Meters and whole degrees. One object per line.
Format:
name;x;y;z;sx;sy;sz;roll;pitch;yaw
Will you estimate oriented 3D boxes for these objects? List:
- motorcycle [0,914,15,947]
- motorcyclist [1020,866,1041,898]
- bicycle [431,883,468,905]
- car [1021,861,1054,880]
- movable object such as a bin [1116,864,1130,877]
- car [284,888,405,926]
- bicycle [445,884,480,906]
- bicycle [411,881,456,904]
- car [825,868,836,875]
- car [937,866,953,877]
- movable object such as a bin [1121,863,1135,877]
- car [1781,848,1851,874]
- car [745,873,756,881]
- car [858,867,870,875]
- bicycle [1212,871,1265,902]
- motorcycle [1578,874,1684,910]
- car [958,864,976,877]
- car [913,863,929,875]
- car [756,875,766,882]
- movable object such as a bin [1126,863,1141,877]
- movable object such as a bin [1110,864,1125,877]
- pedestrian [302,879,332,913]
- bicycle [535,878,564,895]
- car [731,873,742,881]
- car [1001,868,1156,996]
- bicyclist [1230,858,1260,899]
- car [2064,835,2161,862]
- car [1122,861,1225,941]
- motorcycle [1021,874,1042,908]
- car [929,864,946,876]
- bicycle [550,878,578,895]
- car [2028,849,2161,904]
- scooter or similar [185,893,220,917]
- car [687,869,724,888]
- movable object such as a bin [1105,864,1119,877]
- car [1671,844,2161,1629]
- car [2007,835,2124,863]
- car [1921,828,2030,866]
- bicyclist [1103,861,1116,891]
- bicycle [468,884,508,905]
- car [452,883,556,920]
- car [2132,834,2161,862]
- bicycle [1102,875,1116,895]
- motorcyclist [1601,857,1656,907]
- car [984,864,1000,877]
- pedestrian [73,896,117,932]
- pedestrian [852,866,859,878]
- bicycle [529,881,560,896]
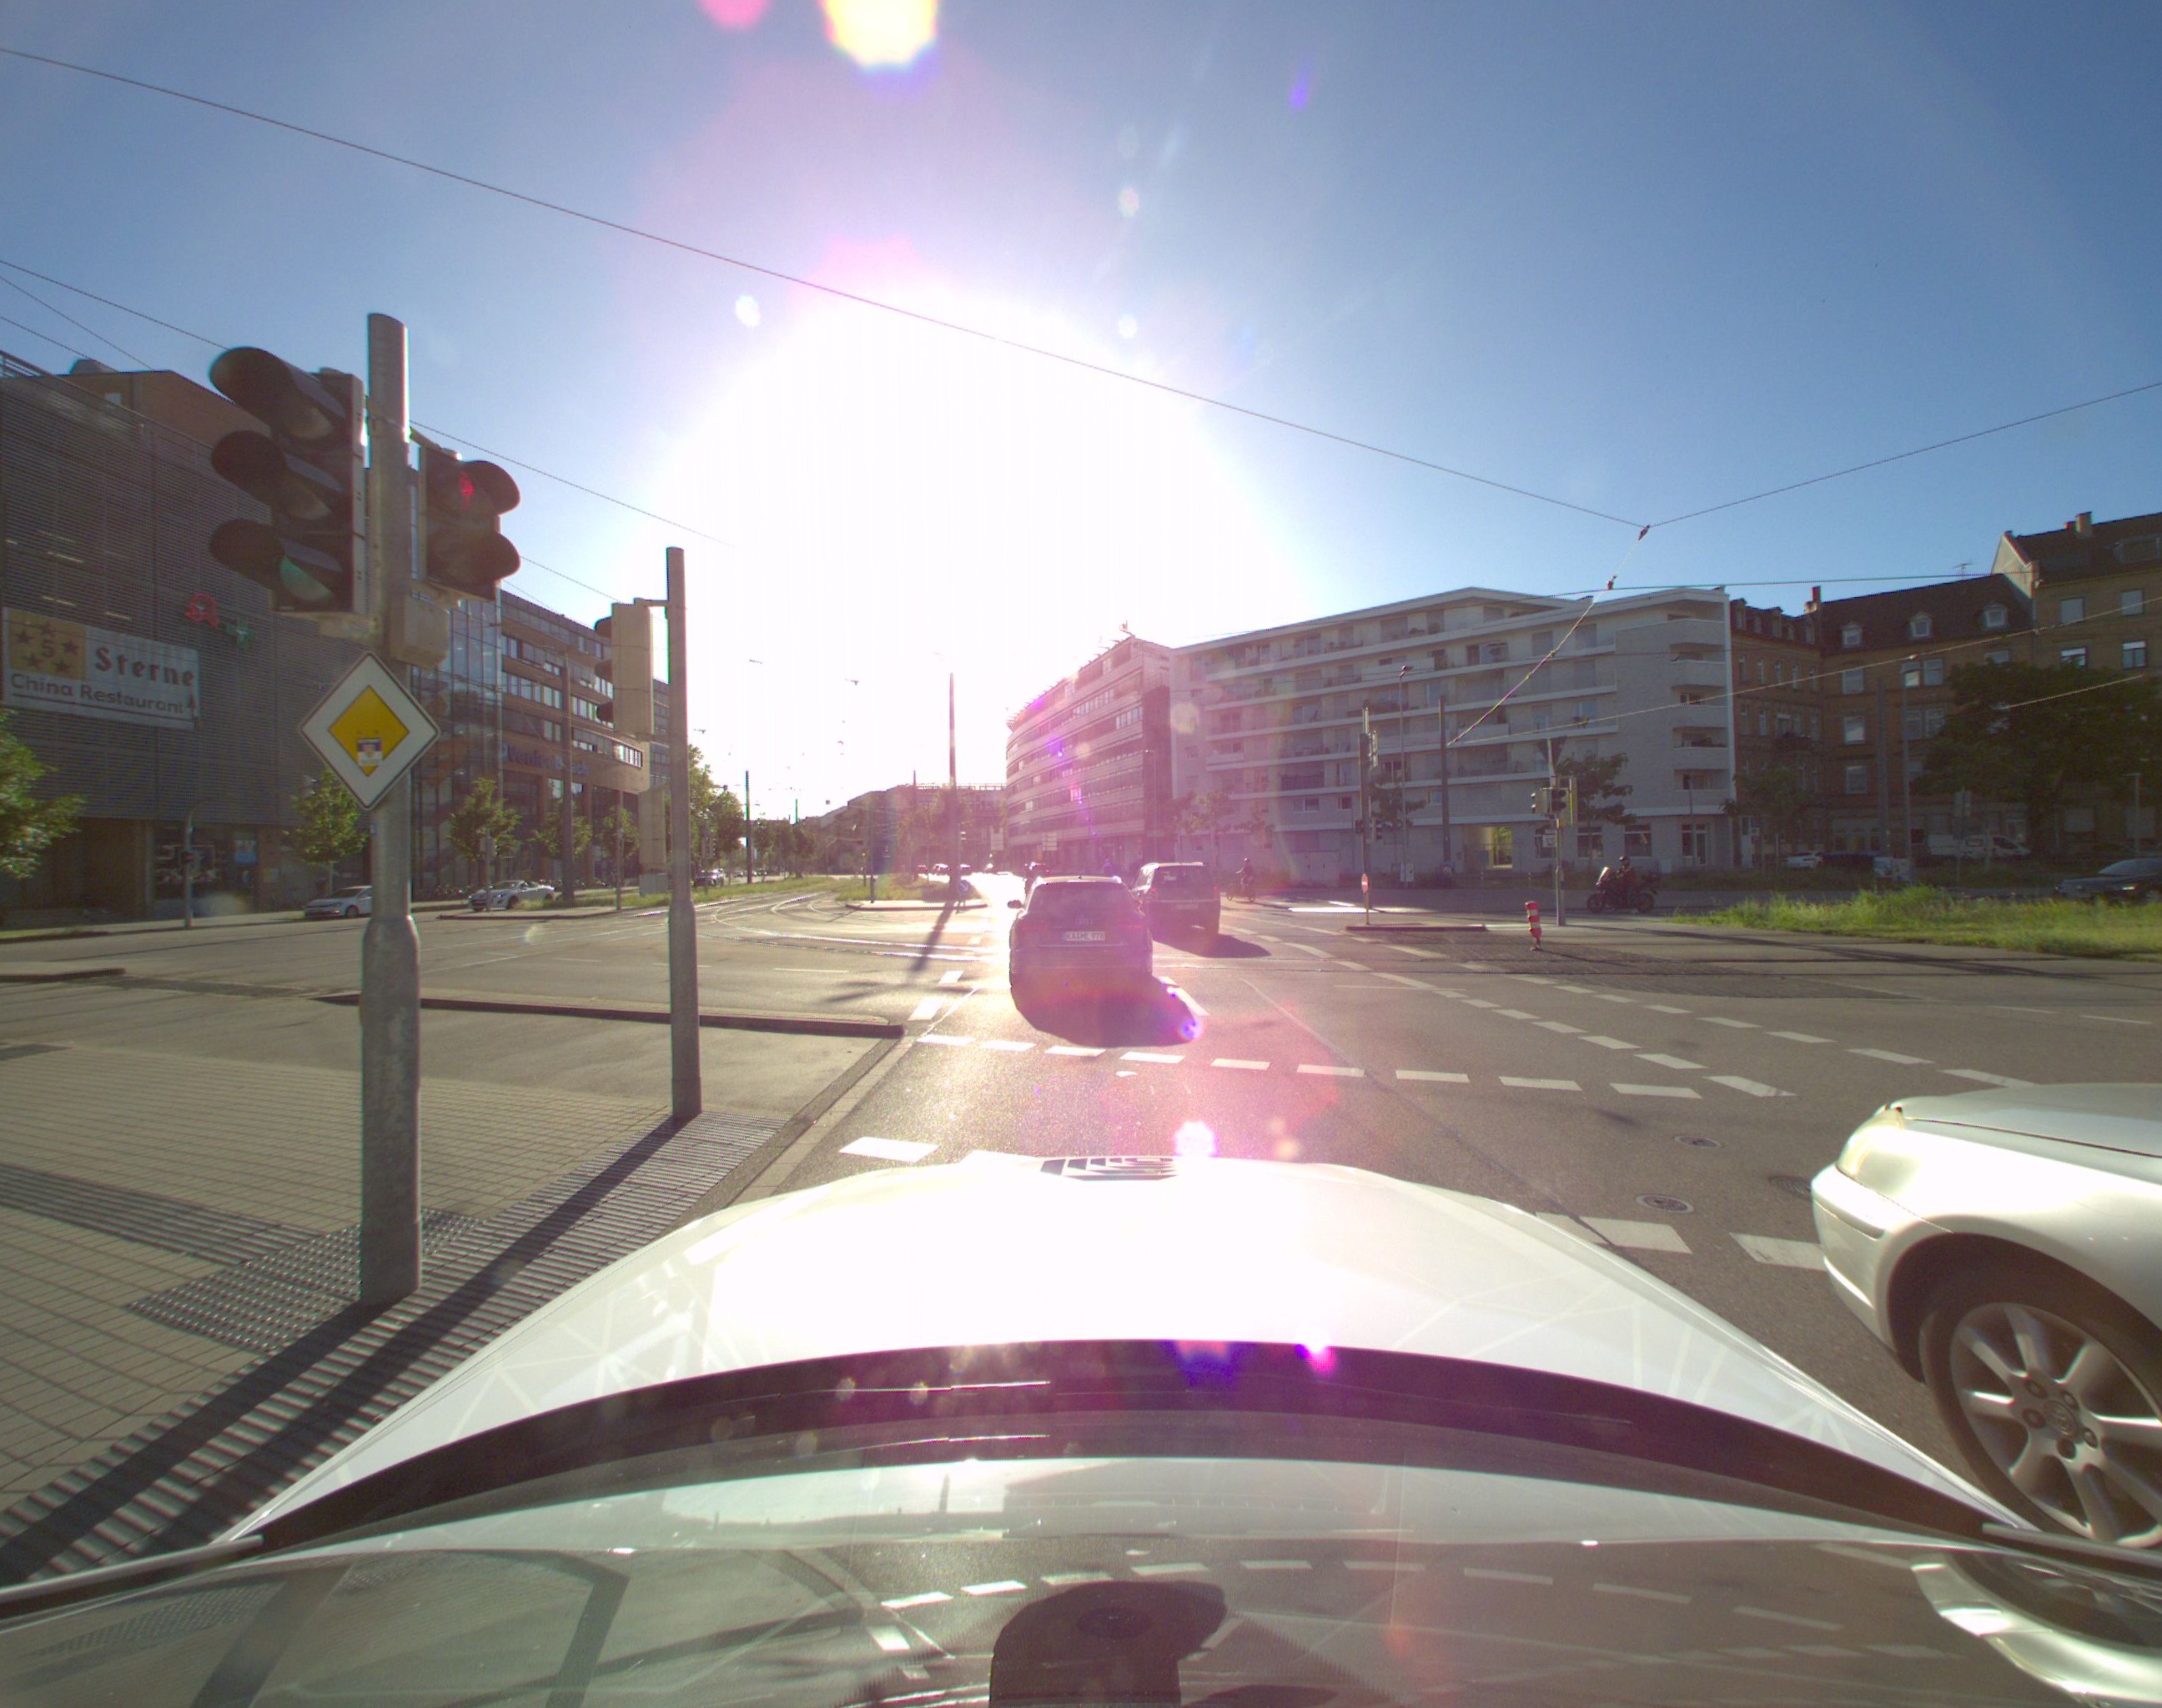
motorcycle;-41.979;2.956;30.854;0.673;1.238;1.894;-2;-1;2
motorcyclist;-2.172;1.197;35.140;0.860;1.326;0.680;-1;-1;-3
bicycle;-43.528;2.729;56.121;2.070;1.433;0.863;-2;-2;11
car;-4.022;1.496;74.738;2.008;1.715;4.346;0;0;-17
movable object such as a bin;4.395;1.695;85.526;1.065;1.332;1.115;-1;-2;-26
car;-33.330;2.350;36.999;1.889;1.407;3.997;-2;0;-2
bicycle;-43.433;2.863;57.225;1.965;1.433;0.809;-2;-2;11
bicycle;-43.743;2.623;55.056;2.354;1.433;1.080;-2;-2;11
car;-64.876;4.574;210.799;2.006;1.640;4.369;-1;-1;-30
car;-19.826;2.571;118.606;1.996;1.596;3.982;-2;-1;-13
movable object such as a bin;4.879;1.671;84.491;1.065;1.332;1.115;-1;-2;-26
car;46.995;0.440;52.076;4.009;1.486;1.982;-1;-2;-27
car;-75.072;5.167;184.749;2.004;1.684;3.965;-1;-1;-27
car;-49.060;3.837;184.384;2.002;1.706;3.968;-2;-2;-23
bicycle;6.649;1.370;34.359;2.055;1.262;0.773;-2;-1;42
motorcycle;16.901;1.151;25.073;2.442;1.000;1.173;-1;-1;4
car;-16.255;2.366;116.118;1.998;1.596;3.977;-2;-1;-16
car;-24.355;2.343;123.895;1.998;1.706;3.978;-2;-2;-16
car;-75.992;5.805;193.438;2.004;1.684;3.965;-1;-1;-27
movable object such as a bin;5.391;1.635;83.393;1.065;1.332;1.115;-1;-2;-26
movable object such as a bin;3.871;1.743;86.570;1.065;1.332;1.115;-1;-2;-26
pedestrian;-42.723;2.332;45.540;0.823;1.825;0.905;-3;-2;3
bicycle;-47.050;2.892;72.124;2.231;1.433;0.720;-2;-2;10
car;-77.684;5.202;183.710;2.004;1.684;3.965;-1;-1;-27
car;0.041;0.952;11.637;1.835;1.454;4.002;0;0;2
bicyclist;6.889;1.029;34.154;0.918;1.706;0.773;-2;-1;42
car;56.443;-0.281;44.080;1.980;1.354;4.012;-2;-1;11
car;2.088;1.037;19.575;1.742;1.696;4.254;1;-1;-4
motorcycle;-2.125;1.567;35.157;0.860;1.393;1.891;-1;-1;-3
car;-21.935;2.485;124.363;1.998;1.706;3.978;-2;-2;-16
bicycle;-47.072;2.958;74.164;2.124;1.433;0.761;-2;-2;11
car;28.838;0.608;22.076;4.228;1.401;1.769;-1;-4;-1
scooter or similar;-42.994;2.497;39.866;0.419;1.110;1.153;-3;-2;3
car;-34.295;2.190;74.444;1.994;1.640;4.396;-1;-1;-10
movable object such as a bin;3.339;1.780;87.680;1.065;1.332;1.115;-1;-2;-26
car;2.900;0.689;0.465;1.740;1.481;4.627;-1;-1;0
car;54.219;-0.249;44.974;1.980;1.354;4.012;-2;-1;11
car;58.603;-0.439;53.476;4.543;2.311;2.012;-2;-1;40
bicyclist;1.605;1.224;46.160;0.651;1.642;0.973;-1;0;5
bicycle;-44.230;2.999;60.721;2.545;1.433;0.907;-2;-2;11
car;-27.897;2.264;39.578;1.989;1.546;4.524;-1;-1;-3
car;58.515;-0.360;42.717;1.980;1.486;4.012;-2;-1;11
bicycle;1.578;1.737;46.157;0.650;1.043;1.932;-1;0;6
motorcyclist;16.846;0.837;25.076;0.920;1.481;1.173;-1;-1;4
car;-14.052;2.636;128.474;1.996;1.838;3.982;-2;-1;-13
pedestrian;-44.606;2.710;36.852;0.983;1.566;0.829;-2;-2;2
pedestrian;-36.032;2.840;130.103;0.903;1.825;0.825;-2;-2;-15
bicycle;-46.937;3.010;71.266;2.398;1.236;0.747;-2;-2;10
